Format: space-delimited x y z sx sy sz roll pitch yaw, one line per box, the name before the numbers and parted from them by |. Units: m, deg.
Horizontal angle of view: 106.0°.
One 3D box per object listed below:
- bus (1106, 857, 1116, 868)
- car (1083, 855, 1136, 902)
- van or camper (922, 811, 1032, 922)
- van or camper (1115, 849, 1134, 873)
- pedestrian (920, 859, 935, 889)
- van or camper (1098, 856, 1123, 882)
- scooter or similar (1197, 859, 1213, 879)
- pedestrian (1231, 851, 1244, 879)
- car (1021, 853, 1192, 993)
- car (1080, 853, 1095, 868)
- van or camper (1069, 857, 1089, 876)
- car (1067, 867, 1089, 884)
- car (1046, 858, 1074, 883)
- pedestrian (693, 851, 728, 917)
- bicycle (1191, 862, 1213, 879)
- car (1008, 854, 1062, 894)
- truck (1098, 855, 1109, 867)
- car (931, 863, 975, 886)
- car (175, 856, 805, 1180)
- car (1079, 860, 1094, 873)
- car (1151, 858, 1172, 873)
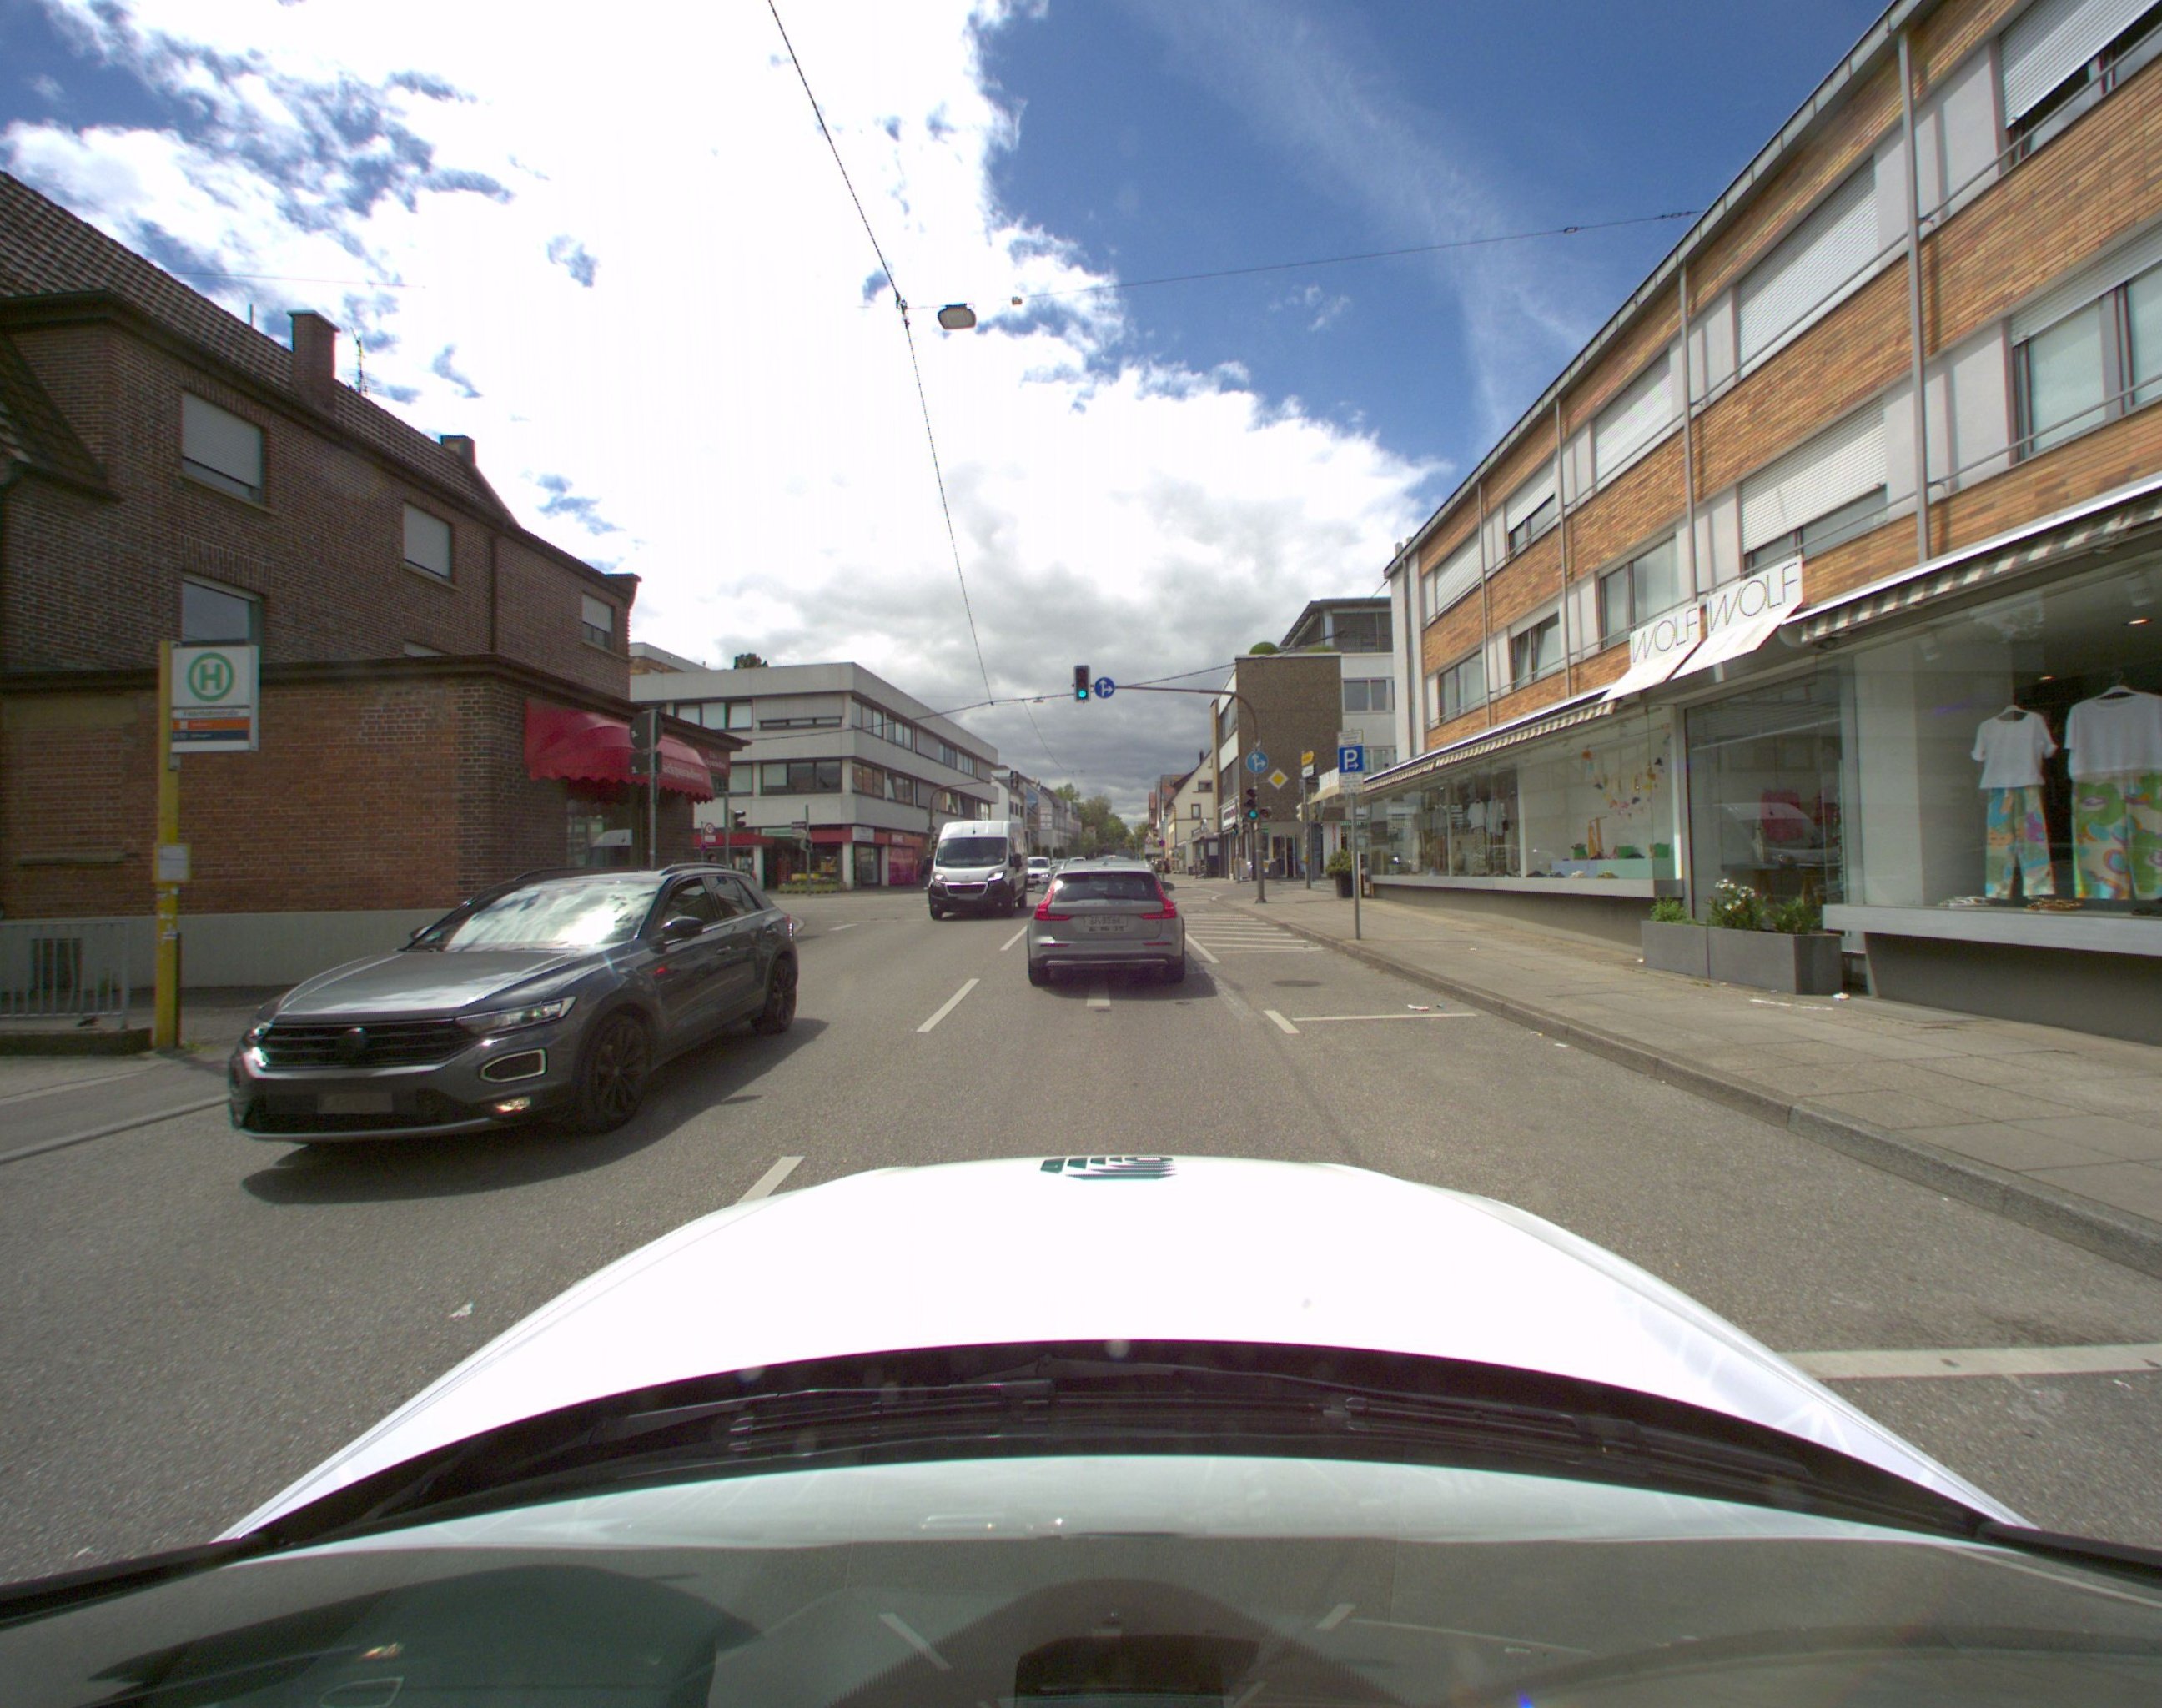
bus | 7.556 2.278 206.613 2.266 2.668 7.435 -2 -1 3
car | 0.976 0.830 27.802 1.644 1.482 3.609 -1 -1 2
van or camper | -2.625 0.281 22.018 2.141 2.556 5.438 -2 0 1
van or camper | 5.002 0.815 93.259 2.114 2.686 4.785 -2 -1 3
pedestrian | -8.586 1.131 45.498 0.616 1.641 0.661 -2 -1 3
van or camper | 2.284 1.213 63.002 1.812 1.835 4.001 -1 -3 2
scooter or similar | 8.099 0.987 53.295 0.342 1.253 1.236 -3 -2 -23
pedestrian | 8.469 0.610 44.095 0.500 1.459 0.502 -5 -2 15
car | 0.346 0.757 10.881 1.829 1.486 4.002 -1 0 2
car | 0.934 0.911 111.911 1.831 1.917 4.157 -1 -1 2
van or camper | -0.164 1.283 86.458 1.857 1.898 4.695 -1 0 2
car | -0.269 1.924 73.458 1.676 1.497 3.970 -2 -1 3
car | -1.410 1.127 56.302 1.783 1.589 4.100 -2 -1 1
pedestrian | -10.246 0.838 22.537 0.623 1.797 0.720 -1 -2 0
bicycle | 8.335 1.166 56.249 0.555 1.144 2.288 -2 -1 -15
car | -2.086 0.888 37.924 1.772 1.640 4.227 -3 -1 6
truck | 5.368 1.641 190.844 2.266 2.886 7.085 -2 -1 3
car | -8.225 1.316 52.784 1.776 1.464 4.093 0 -1 6
car | -3.530 0.822 5.898 1.786 1.511 3.842 -2 -1 -1
car | 0.705 1.505 99.656 1.661 1.554 4.218 -1 -1 3
car | 7.970 1.159 81.271 1.705 1.464 3.999 -1 -2 0
